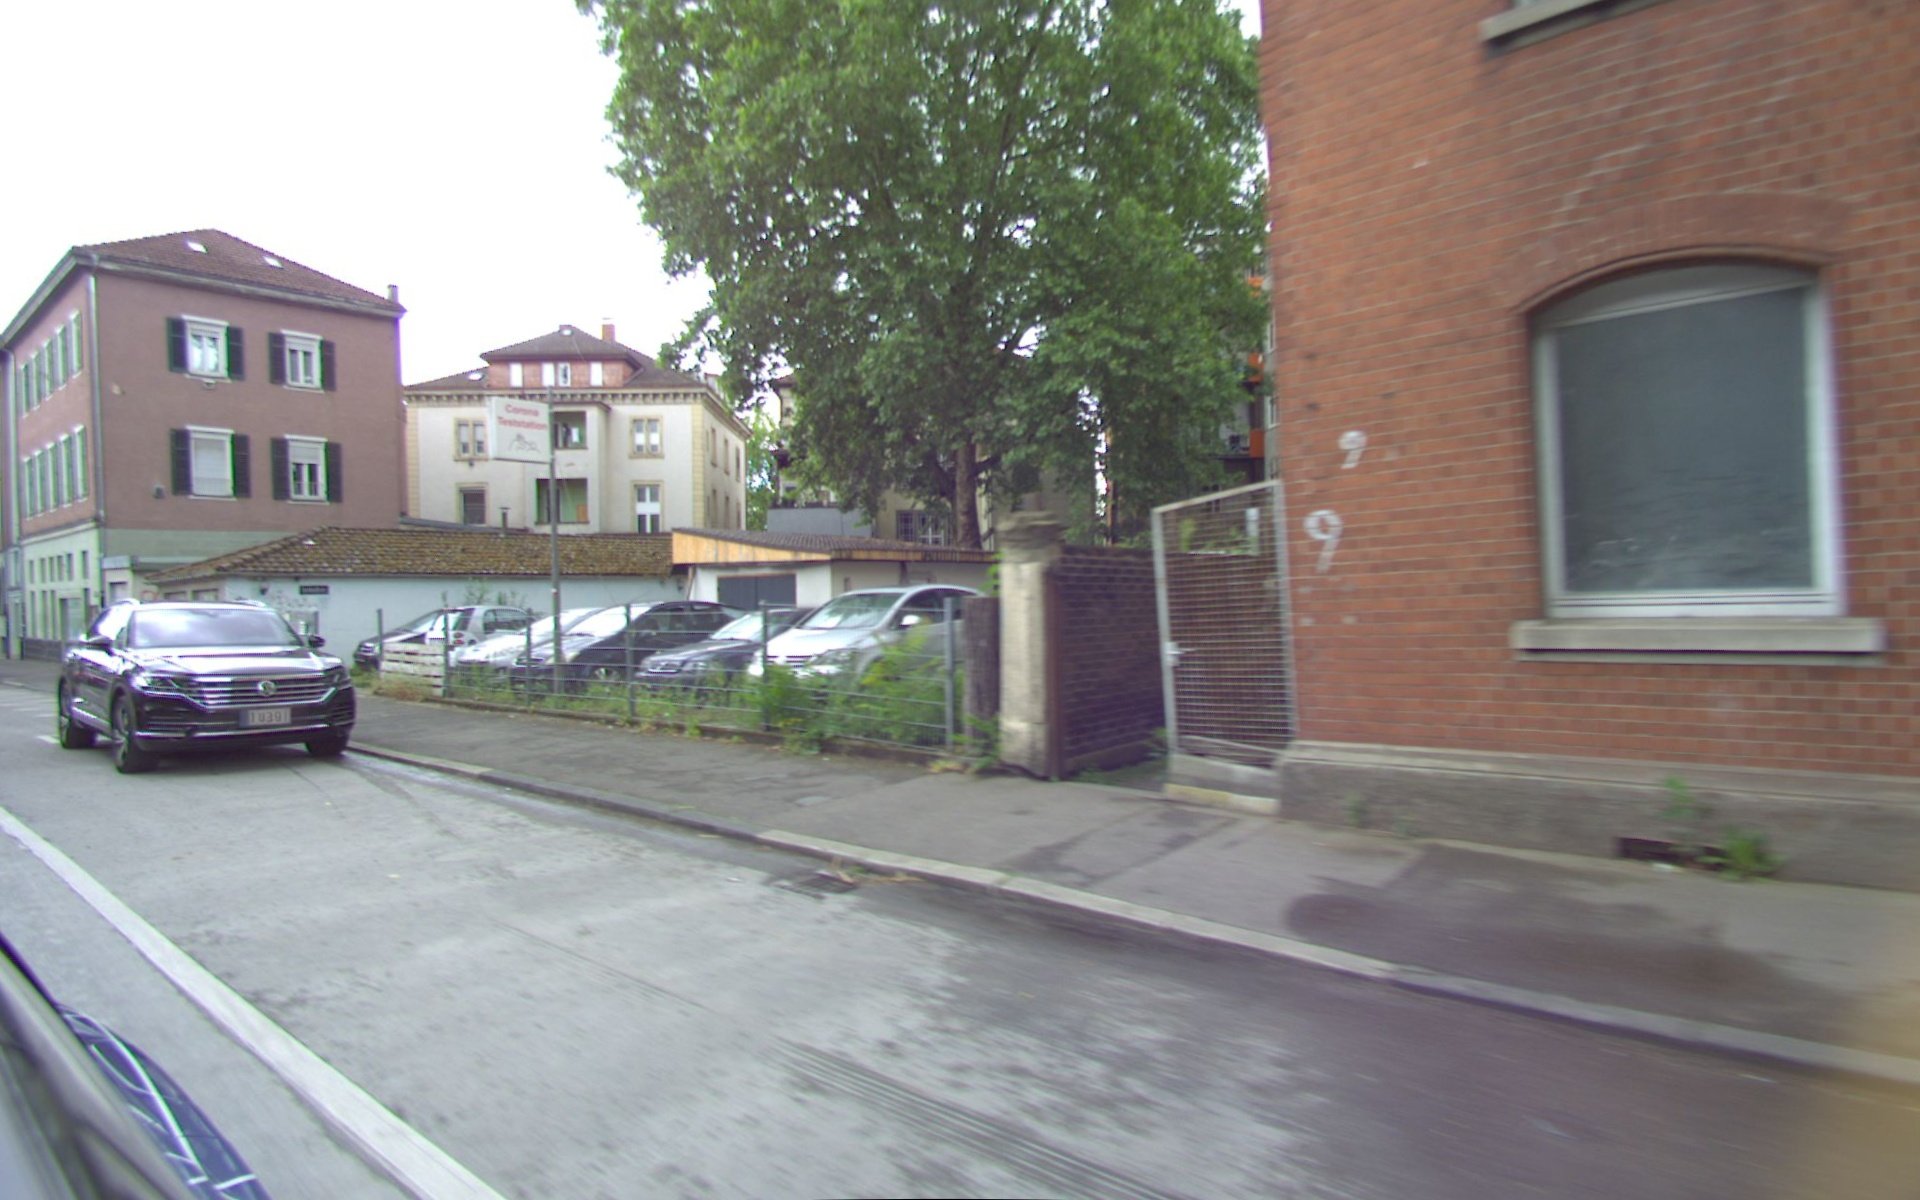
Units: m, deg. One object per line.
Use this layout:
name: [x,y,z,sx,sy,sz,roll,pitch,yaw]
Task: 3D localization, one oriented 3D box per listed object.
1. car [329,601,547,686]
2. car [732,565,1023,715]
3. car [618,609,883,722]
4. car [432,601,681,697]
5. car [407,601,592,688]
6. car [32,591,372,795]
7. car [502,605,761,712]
car: [-11.033,0.870,21.554,1.852,1.655,3.724,-2,-1,40]
car: [-0.935,0.455,12.875,1.687,1.624,3.559,-2,-1,40]
car: [-2.918,0.854,14.634,1.546,1.425,3.559,-2,-1,40]
car: [-7.058,0.800,17.938,1.852,1.516,3.685,-2,-1,40]
car: [-9.040,0.833,19.970,1.852,1.577,2.818,-2,-1,40]
car: [-8.450,0.874,11.106,4.770,1.747,1.934,-2,0,40]
car: [-5.226,0.858,16.375,1.852,1.516,3.559,-2,-1,40]
